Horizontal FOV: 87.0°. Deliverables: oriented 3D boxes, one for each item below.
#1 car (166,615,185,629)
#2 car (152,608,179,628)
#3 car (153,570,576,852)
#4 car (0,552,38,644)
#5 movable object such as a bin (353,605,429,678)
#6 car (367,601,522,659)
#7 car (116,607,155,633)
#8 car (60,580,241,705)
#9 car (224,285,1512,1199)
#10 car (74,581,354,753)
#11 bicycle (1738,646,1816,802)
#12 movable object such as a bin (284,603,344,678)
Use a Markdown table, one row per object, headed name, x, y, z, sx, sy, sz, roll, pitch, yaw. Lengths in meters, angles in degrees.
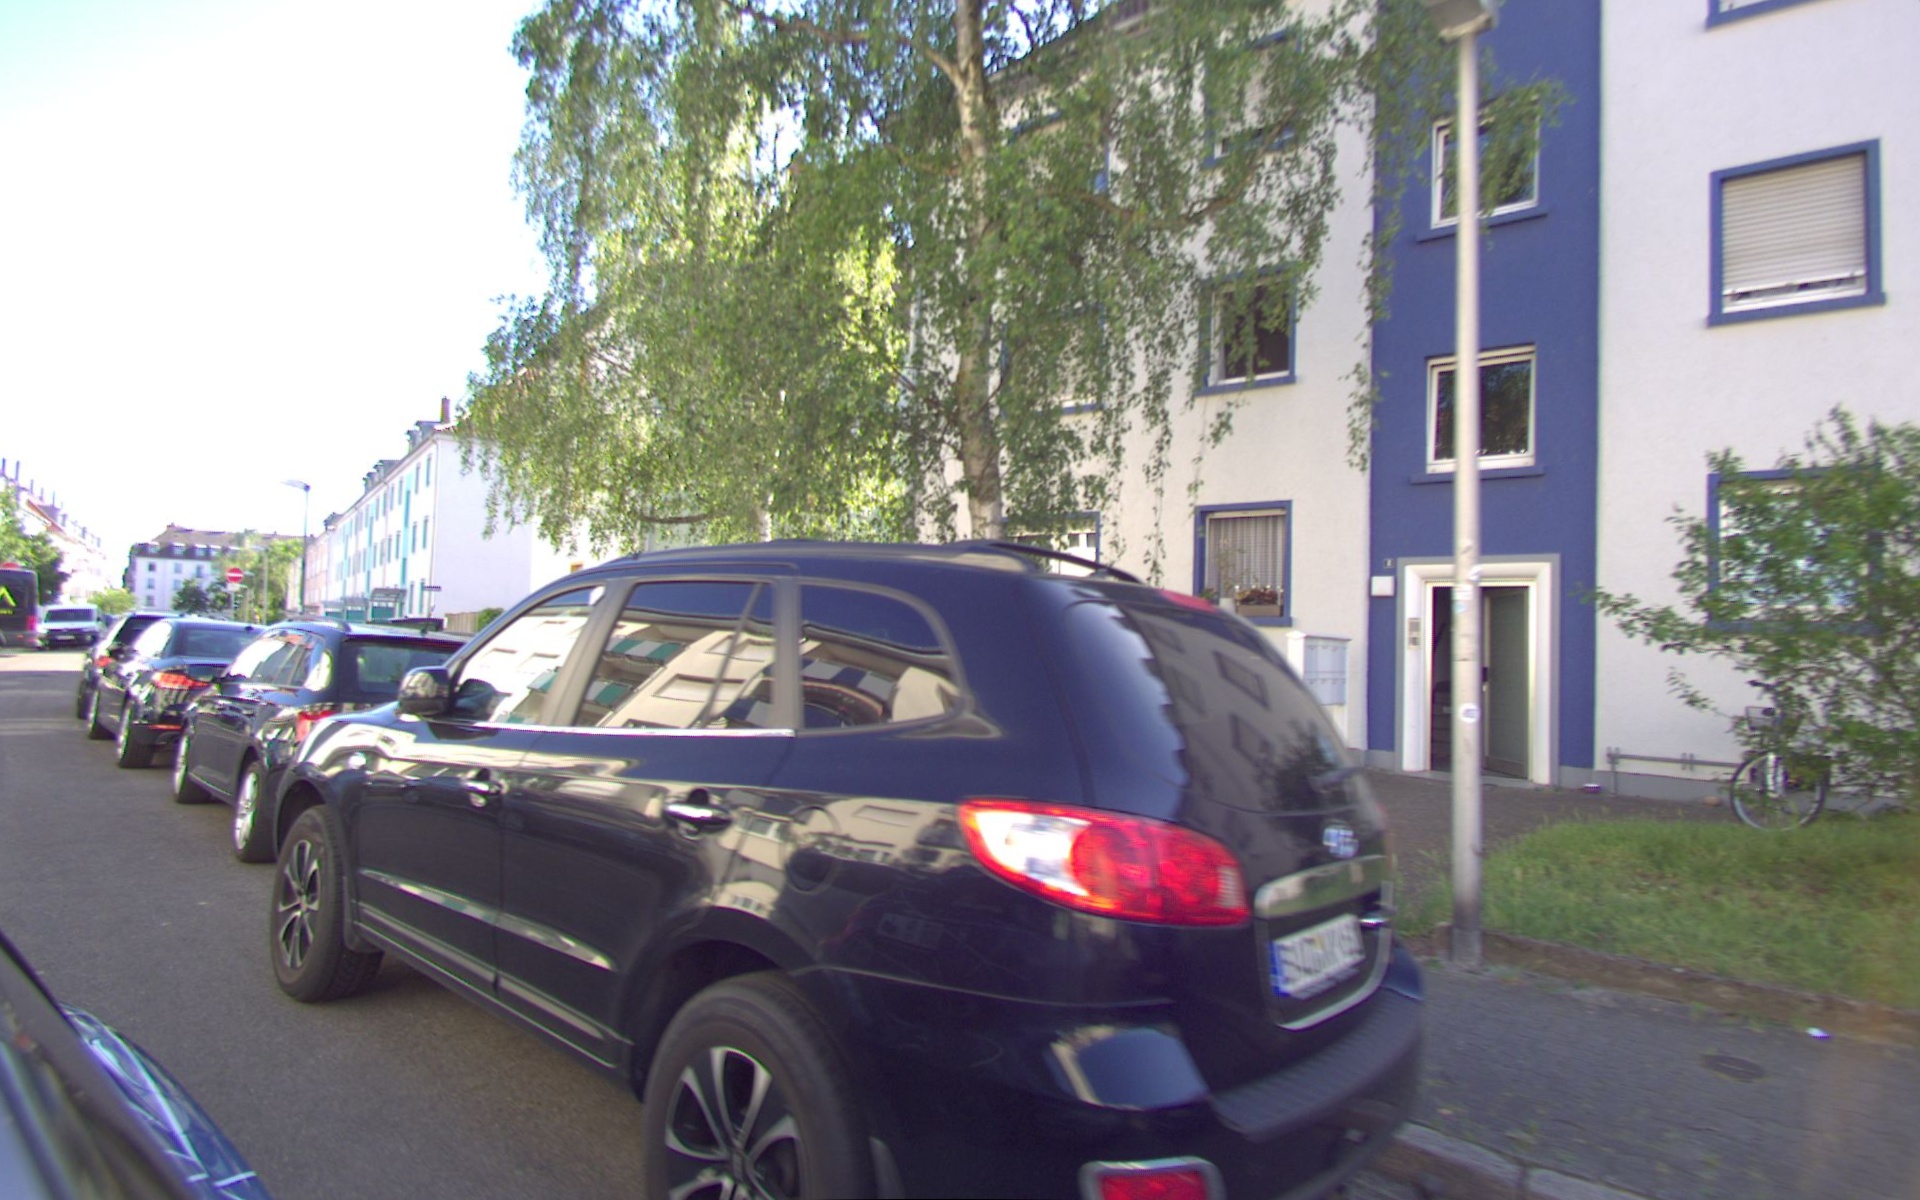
| name | x | y | z | sx | sy | sz | roll | pitch | yaw |
| --- | --- | --- | --- | --- | --- | --- | --- | --- | --- |
| car | -98.512 | 2.755 | 127.137 | 1.682 | 1.583 | 3.935 | 4 | -3 | -35 |
| car | -84.926 | 1.921 | 108.239 | 1.923 | 1.915 | 4.776 | 4 | -3 | -35 |
| car | -4.402 | 0.643 | 7.185 | 1.537 | 1.453 | 3.970 | 9 | -6 | -44 |
| car | -29.256 | -0.171 | 27.578 | 2.000 | 2.564 | 5.876 | -1 | -3 | 43 |
| movable object such as a bin | -11.244 | 0.820 | 20.007 | 1.203 | 1.391 | 0.769 | 3 | -2 | -34 |
| car | -17.648 | 1.056 | 34.758 | 4.429 | 1.676 | 1.723 | 5 | -2 | -36 |
| car | -54.991 | 1.358 | 67.547 | 1.704 | 1.619 | 4.434 | 5 | -4 | -36 |
| car | -11.740 | 0.581 | 14.611 | 1.657 | 1.464 | 4.627 | 8 | -6 | -41 |
| car | -0.787 | 0.480 | 3.344 | 4.335 | 1.727 | 1.539 | 1 | -6 | 41 |
| car | -8.024 | 0.645 | 10.715 | 1.659 | 1.453 | 4.283 | 9 | -6 | -44 |
| bicycle | 6.711 | 0.993 | 8.344 | 0.415 | 1.161 | 1.396 | 1 | -4 | 36 |
| movable object such as a bin | -12.665 | 0.779 | 19.828 | 0.766 | 1.403 | 1.420 | 4 | -3 | -38 |
